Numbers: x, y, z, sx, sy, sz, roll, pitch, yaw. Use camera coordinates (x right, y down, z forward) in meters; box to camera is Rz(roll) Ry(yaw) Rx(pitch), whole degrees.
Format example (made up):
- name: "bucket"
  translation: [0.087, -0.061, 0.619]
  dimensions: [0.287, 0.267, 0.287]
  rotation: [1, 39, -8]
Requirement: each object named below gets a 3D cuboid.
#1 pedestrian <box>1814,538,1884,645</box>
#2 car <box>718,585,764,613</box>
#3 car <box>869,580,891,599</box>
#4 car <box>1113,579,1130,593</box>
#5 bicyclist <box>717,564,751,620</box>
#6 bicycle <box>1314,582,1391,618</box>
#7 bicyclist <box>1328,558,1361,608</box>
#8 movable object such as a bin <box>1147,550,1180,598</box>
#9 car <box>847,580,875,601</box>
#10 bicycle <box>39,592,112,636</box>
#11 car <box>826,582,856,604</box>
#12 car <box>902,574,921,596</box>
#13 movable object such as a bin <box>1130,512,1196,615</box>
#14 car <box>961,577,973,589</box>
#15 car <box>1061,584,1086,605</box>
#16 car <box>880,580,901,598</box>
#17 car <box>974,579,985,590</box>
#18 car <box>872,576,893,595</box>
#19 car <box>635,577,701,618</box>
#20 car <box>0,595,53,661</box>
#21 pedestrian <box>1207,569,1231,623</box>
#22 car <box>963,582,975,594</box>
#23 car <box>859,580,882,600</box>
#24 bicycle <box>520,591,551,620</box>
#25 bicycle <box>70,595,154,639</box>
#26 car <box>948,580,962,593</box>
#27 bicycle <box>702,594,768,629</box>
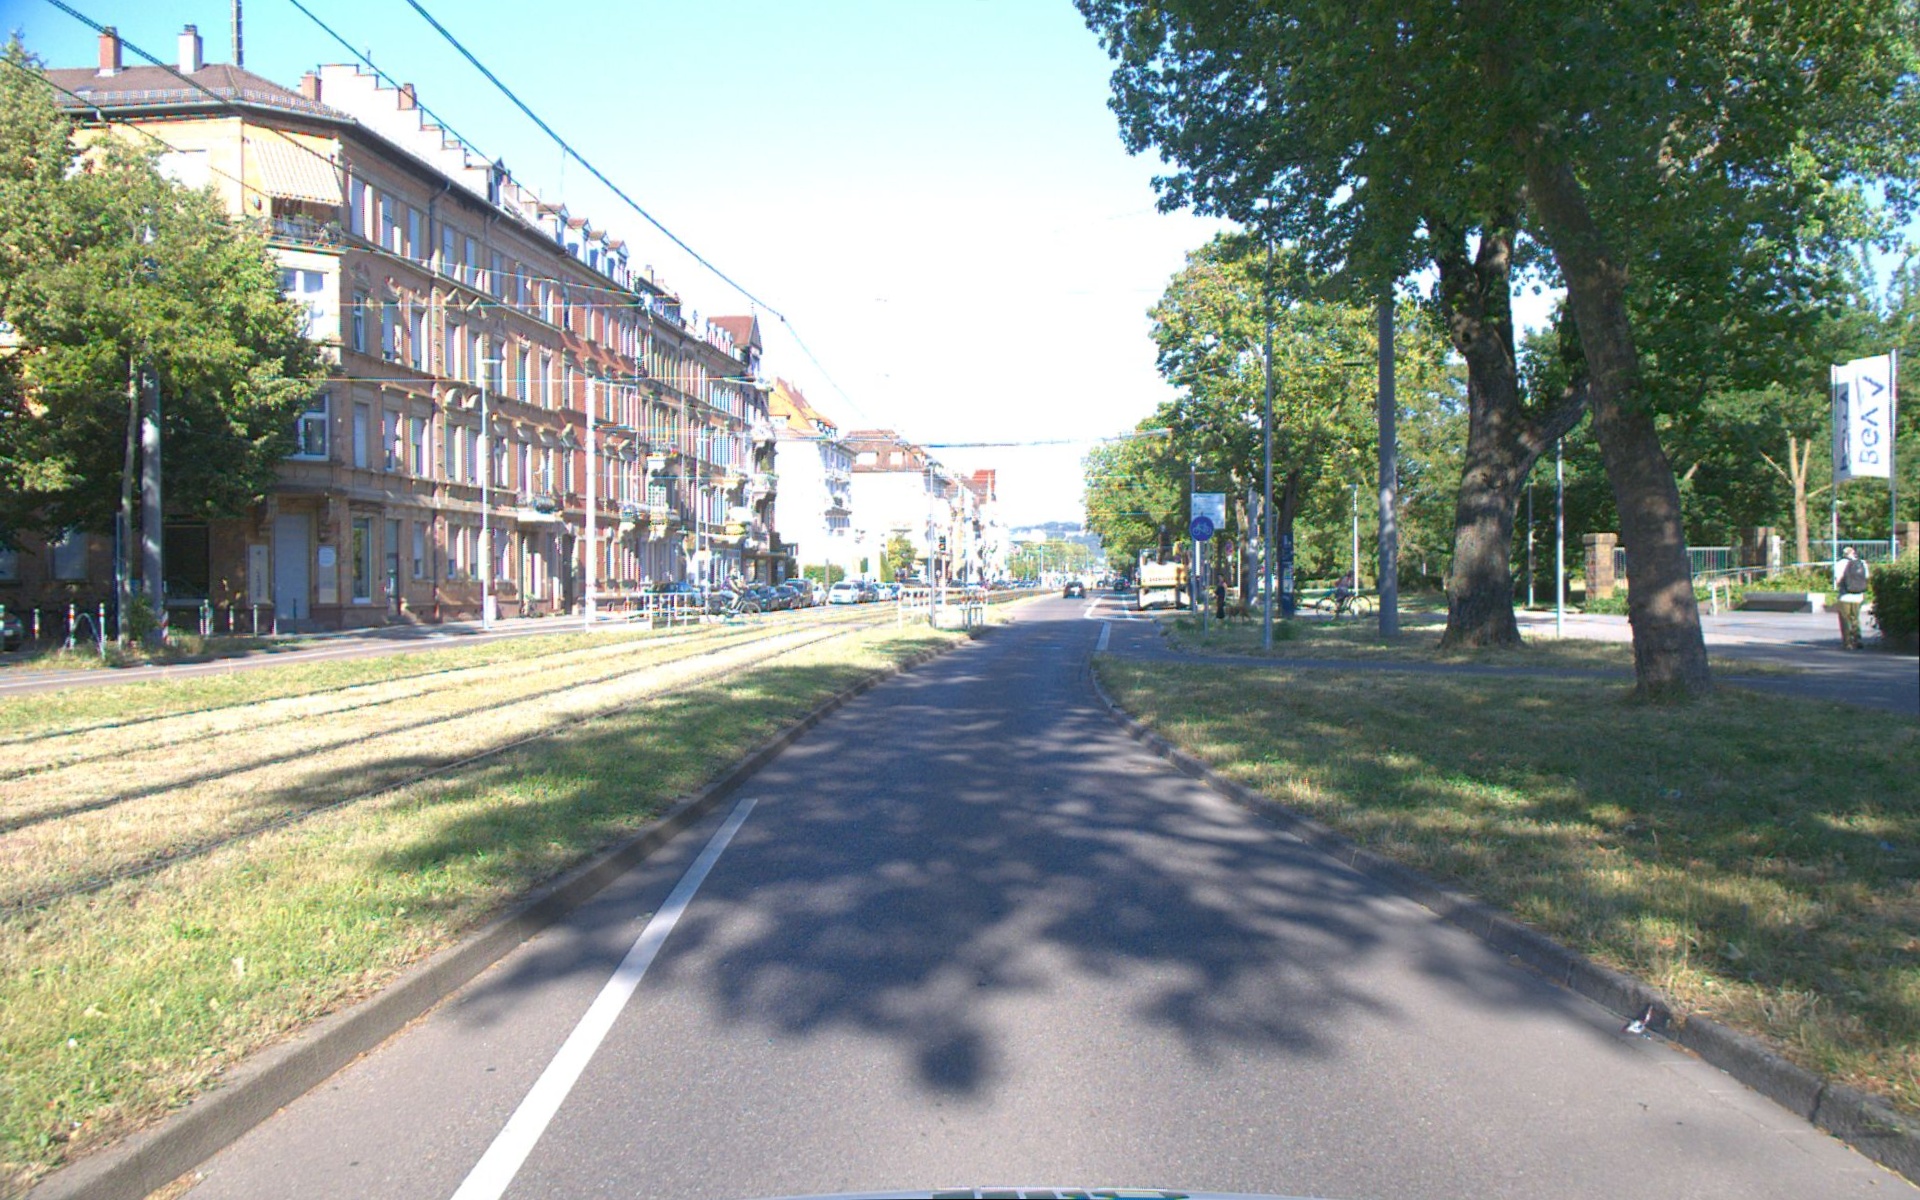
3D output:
- name: "pedestrian"
  translation: [13.434, -0.132, 25.014]
  dimensions: [0.636, 1.566, 0.784]
  rotation: [-2, 0, 5]
- name: "car"
  translation: [-12.333, -0.077, 93.244]
  dimensions: [1.739, 1.431, 3.912]
  rotation: [1, 2, 5]
- name: "car"
  translation: [-7.058, -0.954, 145.531]
  dimensions: [1.494, 1.588, 3.226]
  rotation: [1, 2, 5]
- name: "car"
  translation: [23.690, -2.072, 242.880]
  dimensions: [1.953, 1.892, 3.999]
  rotation: [1, 1, -1]
- name: "bicyclist"
  translation: [-7.228, -0.256, 52.878]
  dimensions: [0.907, 1.745, 0.761]
  rotation: [-1, 1, -24]
- name: "bicycle"
  translation: [12.179, -0.006, 51.410]
  dimensions: [2.213, 1.058, 0.767]
  rotation: [-1, 1, 2]
- name: "bicyclist"
  translation: [11.948, -0.535, 51.415]
  dimensions: [0.884, 1.522, 0.767]
  rotation: [-1, 1, 3]
- name: "movable object such as a bin"
  translation: [13.829, -1.783, 112.630]
  dimensions: [1.927, 3.065, 4.799]
  rotation: [-3, 0, 5]
- name: "car"
  translation: [-7.997, -0.781, 133.479]
  dimensions: [1.704, 1.588, 3.770]
  rotation: [1, 2, 5]
- name: "bicycle"
  translation: [-25.403, 0.390, 47.527]
  dimensions: [0.769, 1.199, 2.241]
  rotation: [1, 1, 3]
- name: "car"
  translation: [-9.255, -0.579, 128.814]
  dimensions: [1.704, 1.588, 3.770]
  rotation: [1, 2, 5]
- name: "car"
  translation: [-5.074, -1.602, 173.354]
  dimensions: [1.623, 2.177, 3.528]
  rotation: [1, 2, 5]
- name: "movable object such as a bin"
  translation: [11.032, -1.946, 90.645]
  dimensions: [3.022, 5.176, 8.898]
  rotation: [-3, 0, 5]
- name: "car"
  translation: [0.976, -2.527, 242.800]
  dimensions: [1.494, 1.638, 3.226]
  rotation: [1, 2, 5]
- name: "car"
  translation: [9.620, -0.449, 139.818]
  dimensions: [1.951, 1.713, 4.003]
  rotation: [1, 1, 5]
- name: "car"
  translation: [-6.492, -1.031, 154.421]
  dimensions: [1.494, 1.588, 3.226]
  rotation: [1, 2, 5]
- name: "car"
  translation: [3.034, -2.354, 255.086]
  dimensions: [1.494, 1.638, 3.226]
  rotation: [1, 2, 5]
- name: "car"
  translation: [-7.005, -1.331, 149.490]
  dimensions: [1.494, 1.588, 3.226]
  rotation: [1, 2, 5]
- name: "car"
  translation: [-13.845, -0.164, 78.705]
  dimensions: [1.973, 1.784, 4.561]
  rotation: [1, 2, 5]
- name: "car"
  translation: [-23.483, 0.622, 39.050]
  dimensions: [4.106, 1.497, 1.994]
  rotation: [1, 0, 34]
- name: "pedestrian"
  translation: [8.320, -0.128, 53.201]
  dimensions: [0.646, 1.675, 0.863]
  rotation: [-3, 0, 6]
- name: "car"
  translation: [1.282, -1.761, 233.877]
  dimensions: [1.494, 1.588, 3.226]
  rotation: [1, 2, 5]
- name: "car"
  translation: [-7.485, -0.881, 139.002]
  dimensions: [1.494, 1.588, 3.226]
  rotation: [1, 2, 5]
- name: "bicycle"
  translation: [-18.084, 0.240, 70.509]
  dimensions: [0.684, 1.201, 1.752]
  rotation: [1, 1, 6]
- name: "bicycle"
  translation: [-24.211, 0.462, 47.274]
  dimensions: [0.768, 1.199, 2.242]
  rotation: [1, 1, 17]
- name: "car"
  translation: [-0.636, -1.776, 217.035]
  dimensions: [1.494, 1.588, 3.226]
  rotation: [1, 2, 5]
- name: "bicycle"
  translation: [-7.197, 0.369, 52.897]
  dimensions: [1.928, 1.058, 0.761]
  rotation: [-1, 1, -24]
